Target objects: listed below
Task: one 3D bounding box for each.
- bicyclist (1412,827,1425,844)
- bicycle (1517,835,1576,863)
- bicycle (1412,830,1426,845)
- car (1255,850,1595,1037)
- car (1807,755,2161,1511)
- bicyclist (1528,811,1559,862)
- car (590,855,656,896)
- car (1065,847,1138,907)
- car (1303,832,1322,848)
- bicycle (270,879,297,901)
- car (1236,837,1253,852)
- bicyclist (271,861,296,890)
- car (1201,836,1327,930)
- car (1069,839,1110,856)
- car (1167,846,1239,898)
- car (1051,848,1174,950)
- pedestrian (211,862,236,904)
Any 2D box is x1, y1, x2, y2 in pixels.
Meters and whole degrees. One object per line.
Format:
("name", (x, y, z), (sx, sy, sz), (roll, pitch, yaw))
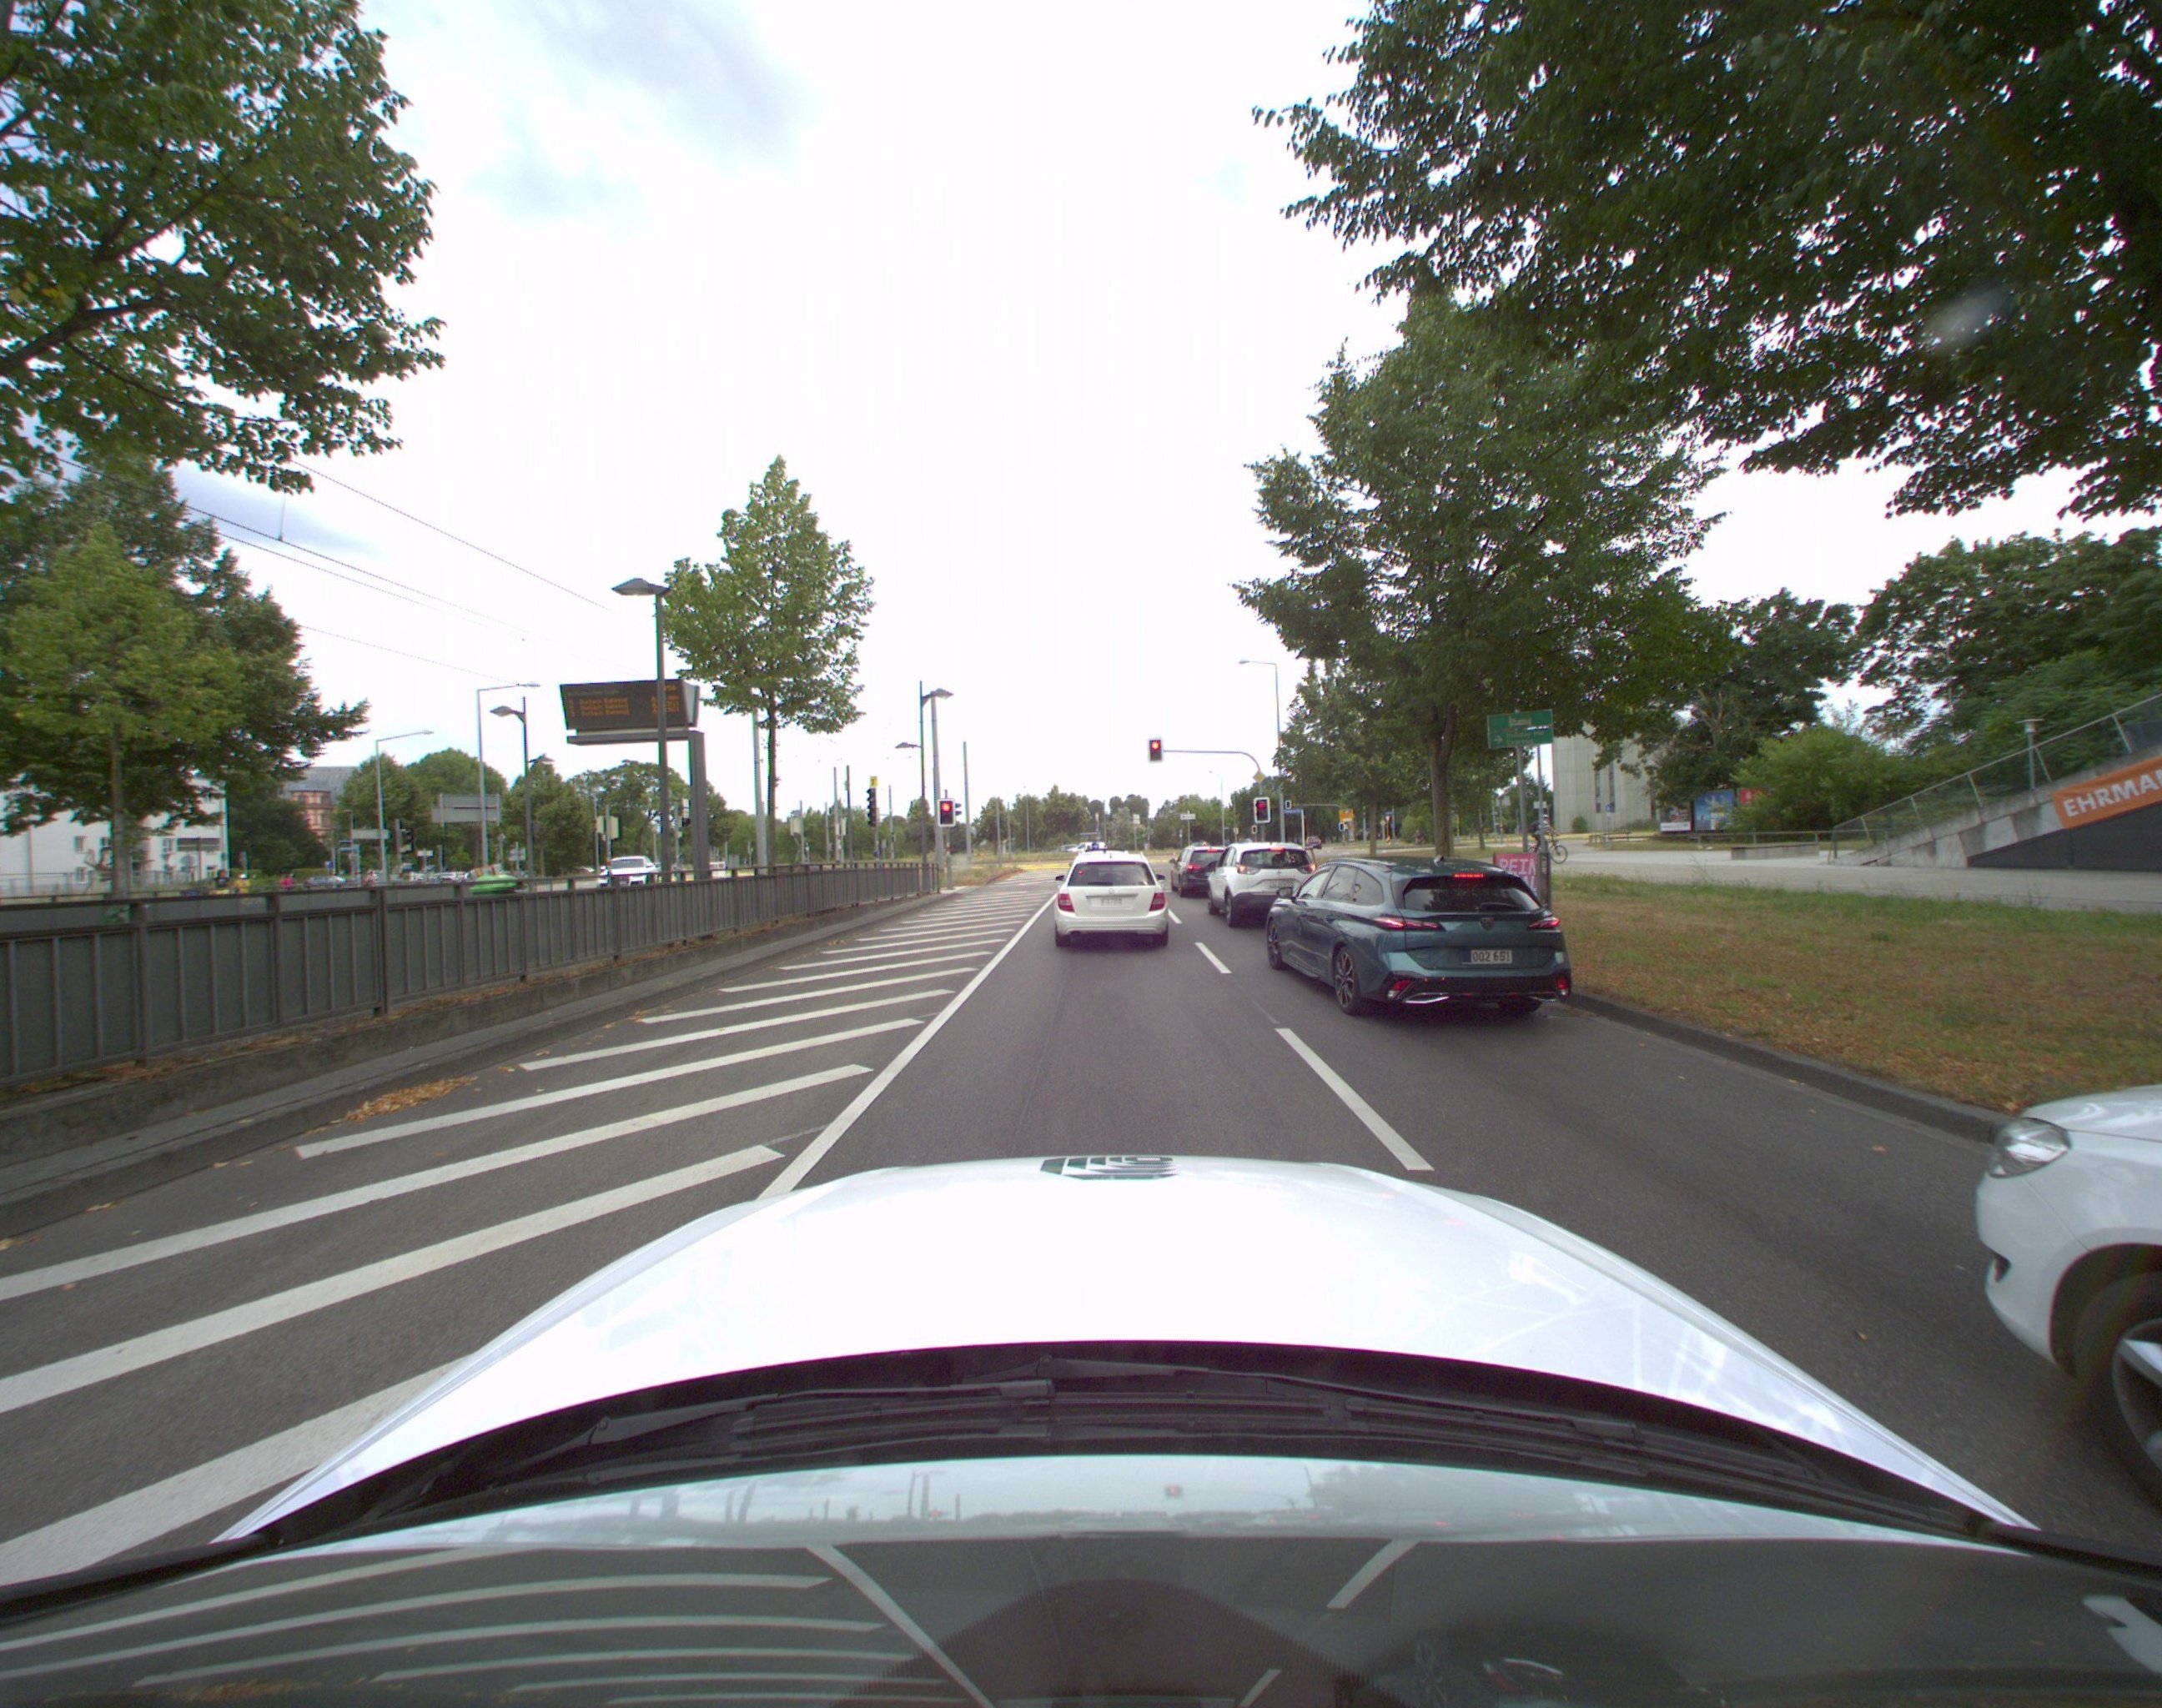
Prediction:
("bicyclist", (35.466, -1.928, 85.586), (0.863, 1.789, 1.174), (0, 0, 0))
("bicycle", (17.786, -0.203, 31.145), (1.927, 0.984, 0.564), (-2, 0, 0))
("bicycle", (35.482, -1.700, 85.592), (0.702, 1.505, 2.008), (0, 0, 2))
("car", (3.222, 0.708, 8.691), (1.782, 1.432, 4.310), (-2, 1, 0))
("car", (3.186, 0.594, 0.603), (1.772, 1.656, 4.025), (-2, 0, 2))
("bicyclist", (17.676, -0.669, 31.159), (0.726, 1.885, 0.734), (-2, 0, 1))
("car", (-20.082, 0.890, 35.887), (2.002, 1.618, 4.351), (-2, 1, -23))
("car", (0.514, 0.538, 21.810), (1.768, 1.448, 3.910), (-1, 0, 0))
("car", (26.197, -1.575, 92.199), (1.771, 1.636, 4.416), (-2, 1, 12))
("bicycle", (-45.802, 2.054, 46.783), (0.813, 1.129, 2.676), (-2, 1, -39))
("car", (19.581, -1.095, 97.601), (1.981, 1.791, 4.012), (0, 0, 11))
("bicyclist", (-45.727, 1.230, 46.698), (0.895, 1.562, 0.742), (-2, 1, -36))
("car", (3.597, 0.506, 16.679), (1.780, 1.624, 3.912), (-2, 0, 2))
("car", (1.130, -0.825, 106.369), (4.988, 2.013, 1.991), (-2, 1, -13))
("car", (3.614, 0.484, 24.720), (1.619, 1.448, 3.910), (-1, 0, 0))
("car", (0.464, 0.632, 13.731), (1.768, 1.448, 3.910), (-1, 0, 0))
("pedestrian", (-39.054, 1.321, 37.075), (0.652, 1.849, 0.486), (-2, 0, -37))
